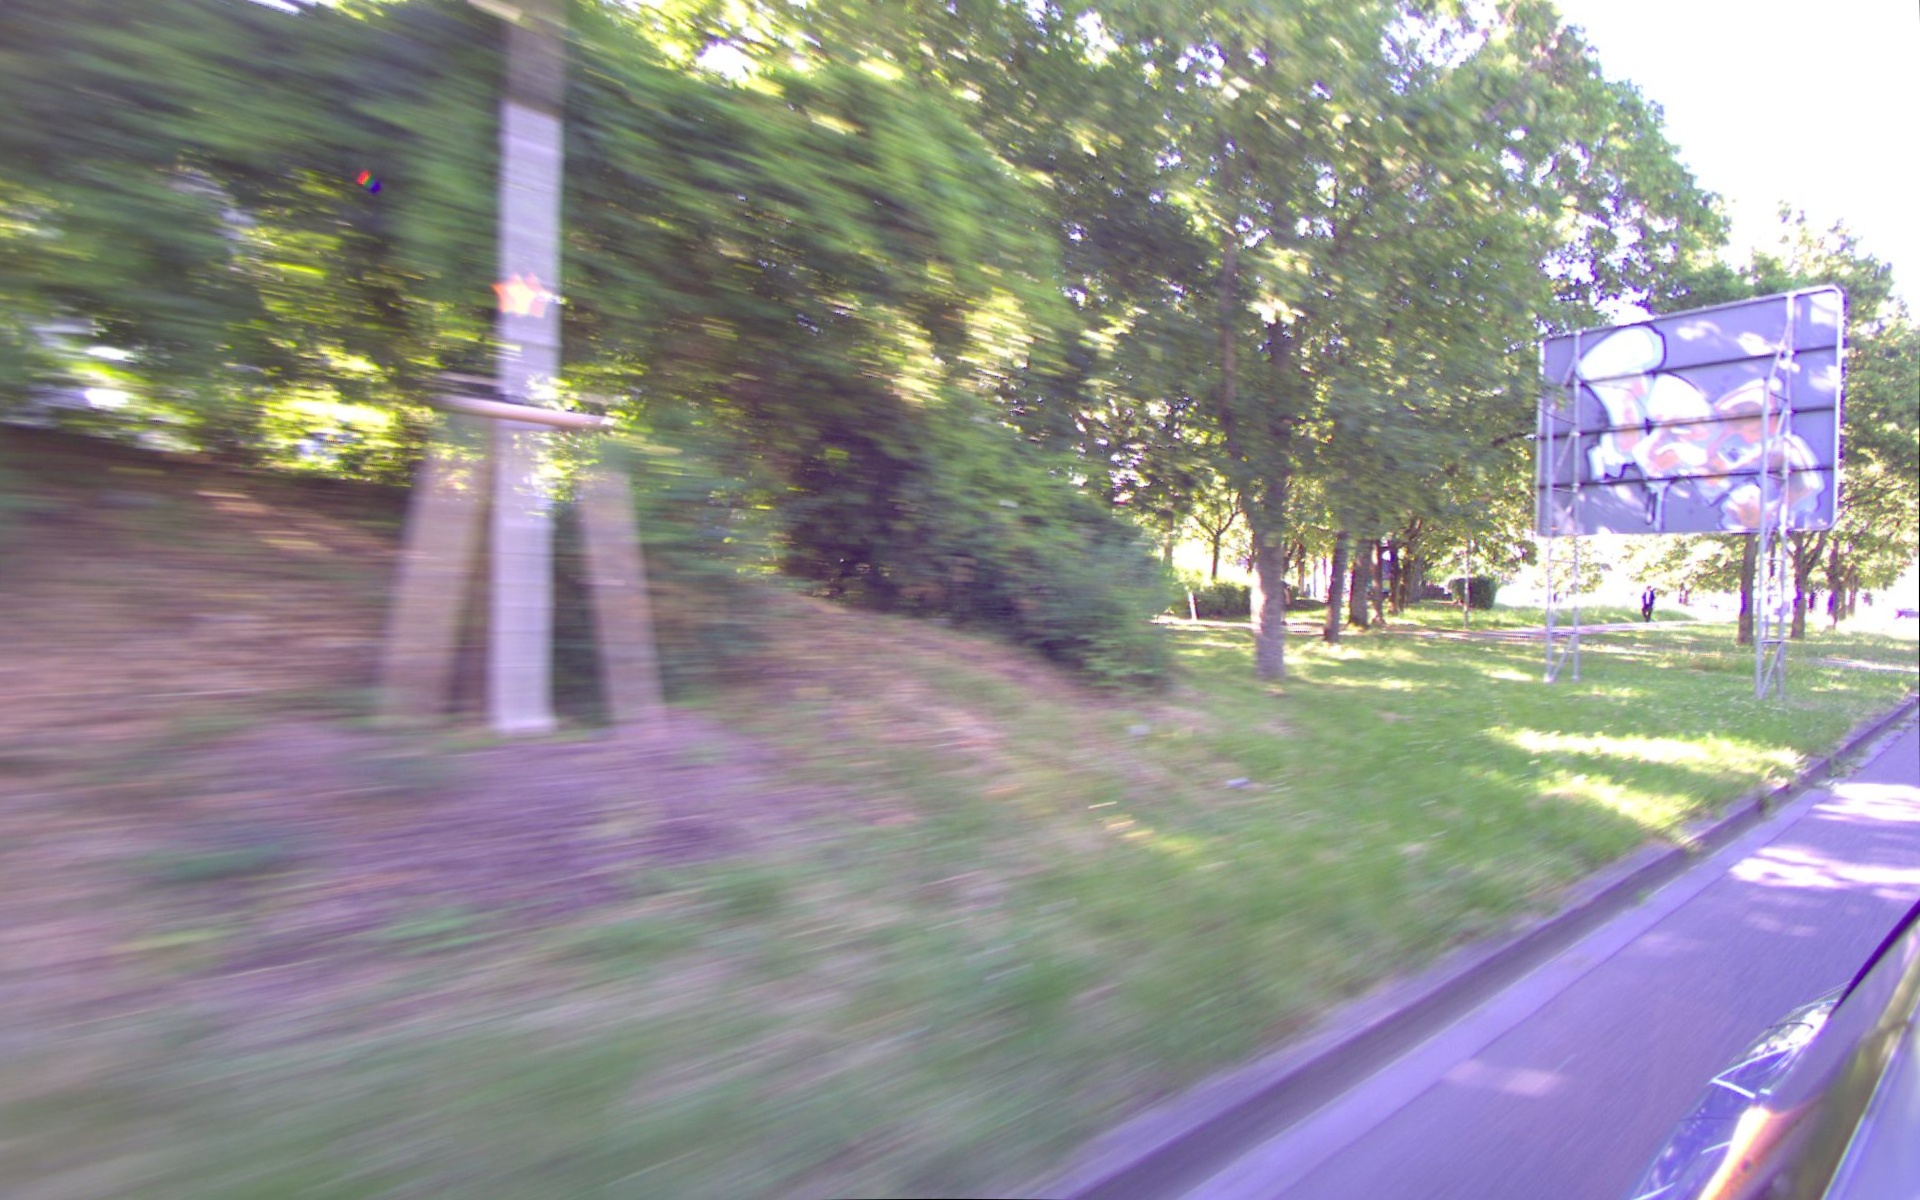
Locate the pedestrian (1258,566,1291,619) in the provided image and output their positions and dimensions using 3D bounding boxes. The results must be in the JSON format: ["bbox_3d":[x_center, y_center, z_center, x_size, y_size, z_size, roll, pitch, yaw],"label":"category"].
[{"bbox_3d":[10.308,-0.240,33.193,0.827,1.713,0.638,1,1,-34],"label":"pedestrian"}]

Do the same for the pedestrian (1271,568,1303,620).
[{"bbox_3d":[10.505,-0.191,32.503,0.827,1.642,0.549,1,1,-34],"label":"pedestrian"}]

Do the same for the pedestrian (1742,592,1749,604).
[{"bbox_3d":[109.211,-0.274,140.713,0.728,1.718,0.726,1,0,34],"label":"pedestrian"}]

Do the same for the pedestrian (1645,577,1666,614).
[{"bbox_3d":[34.371,-0.221,50.020,0.716,1.826,0.781,1,0,44],"label":"pedestrian"}]
